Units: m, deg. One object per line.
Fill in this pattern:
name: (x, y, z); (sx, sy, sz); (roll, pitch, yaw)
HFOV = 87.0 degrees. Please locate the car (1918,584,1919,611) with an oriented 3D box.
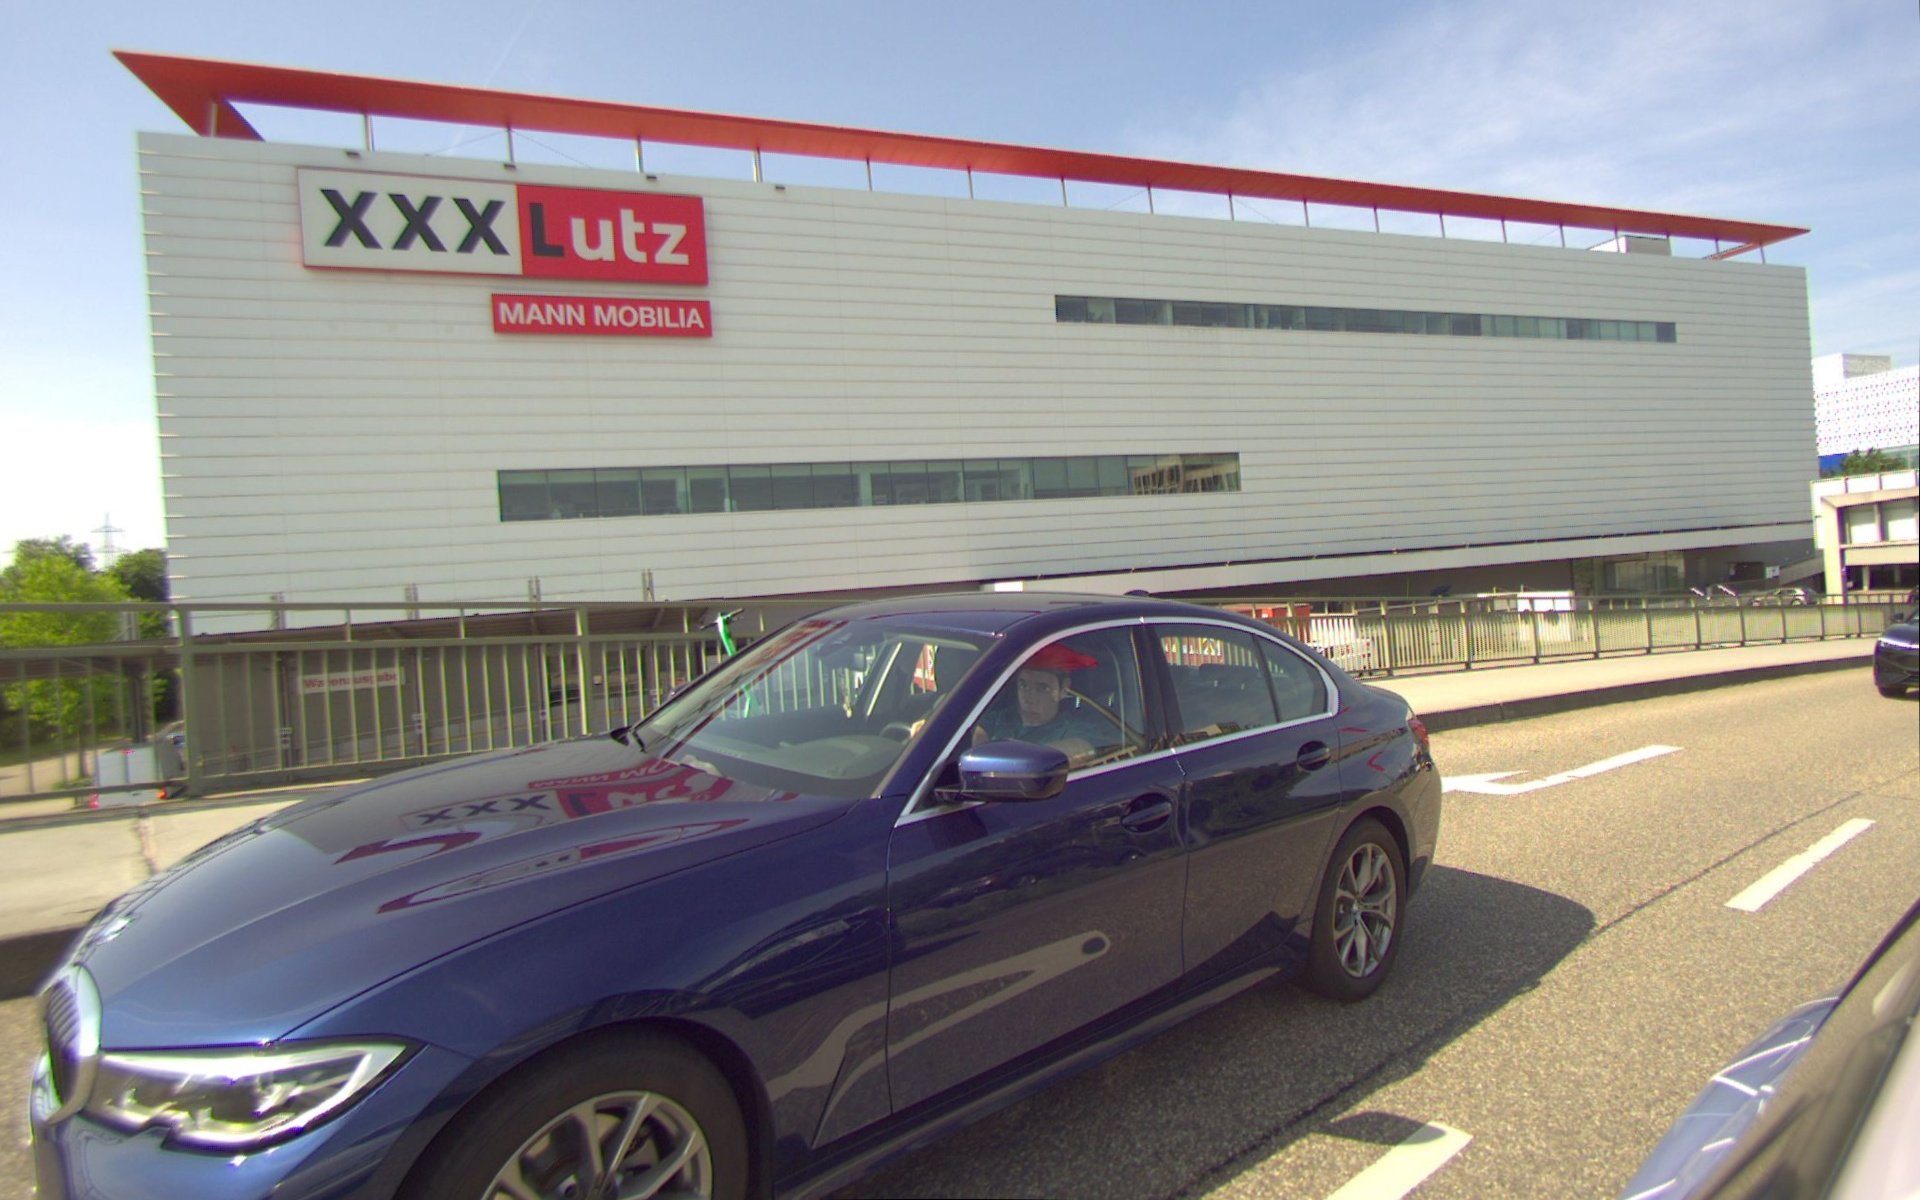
car: (60.320, -0.204, 60.247); (1.824, 1.754, 4.425); (-4, 0, -12)

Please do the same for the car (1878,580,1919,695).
car: (14.869, 0.524, 14.378); (4.065, 1.548, 1.863); (0, 1, -35)

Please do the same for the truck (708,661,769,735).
truck: (-10.877, 4.685, 49.376); (2.088, 2.964, 6.023); (-4, 0, -18)

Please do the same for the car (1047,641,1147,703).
car: (6.692, 3.469, 50.178); (2.088, 2.653, 6.022); (-4, 0, -21)

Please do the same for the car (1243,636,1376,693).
car: (16.626, 2.996, 48.144); (5.888, 2.029, 2.136); (-4, 2, -21)

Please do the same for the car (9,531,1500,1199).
car: (-0.057, 0.636, 3.425); (4.443, 1.502, 1.790); (-5, 1, -41)

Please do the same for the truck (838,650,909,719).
truck: (-4.516, 4.224, 51.902); (2.088, 2.964, 6.023); (-4, 0, -18)

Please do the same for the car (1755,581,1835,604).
car: (58.629, -0.492, 71.146); (1.773, 1.393, 3.875); (-3, -1, -22)

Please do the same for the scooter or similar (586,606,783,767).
scooter or similar: (-2.168, 0.643, 8.088); (0.511, 1.157, 1.459); (-3, -2, 42)

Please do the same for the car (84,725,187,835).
car: (-29.717, 6.352, 36.670); (2.092, 2.964, 6.012); (-4, 0, -33)
